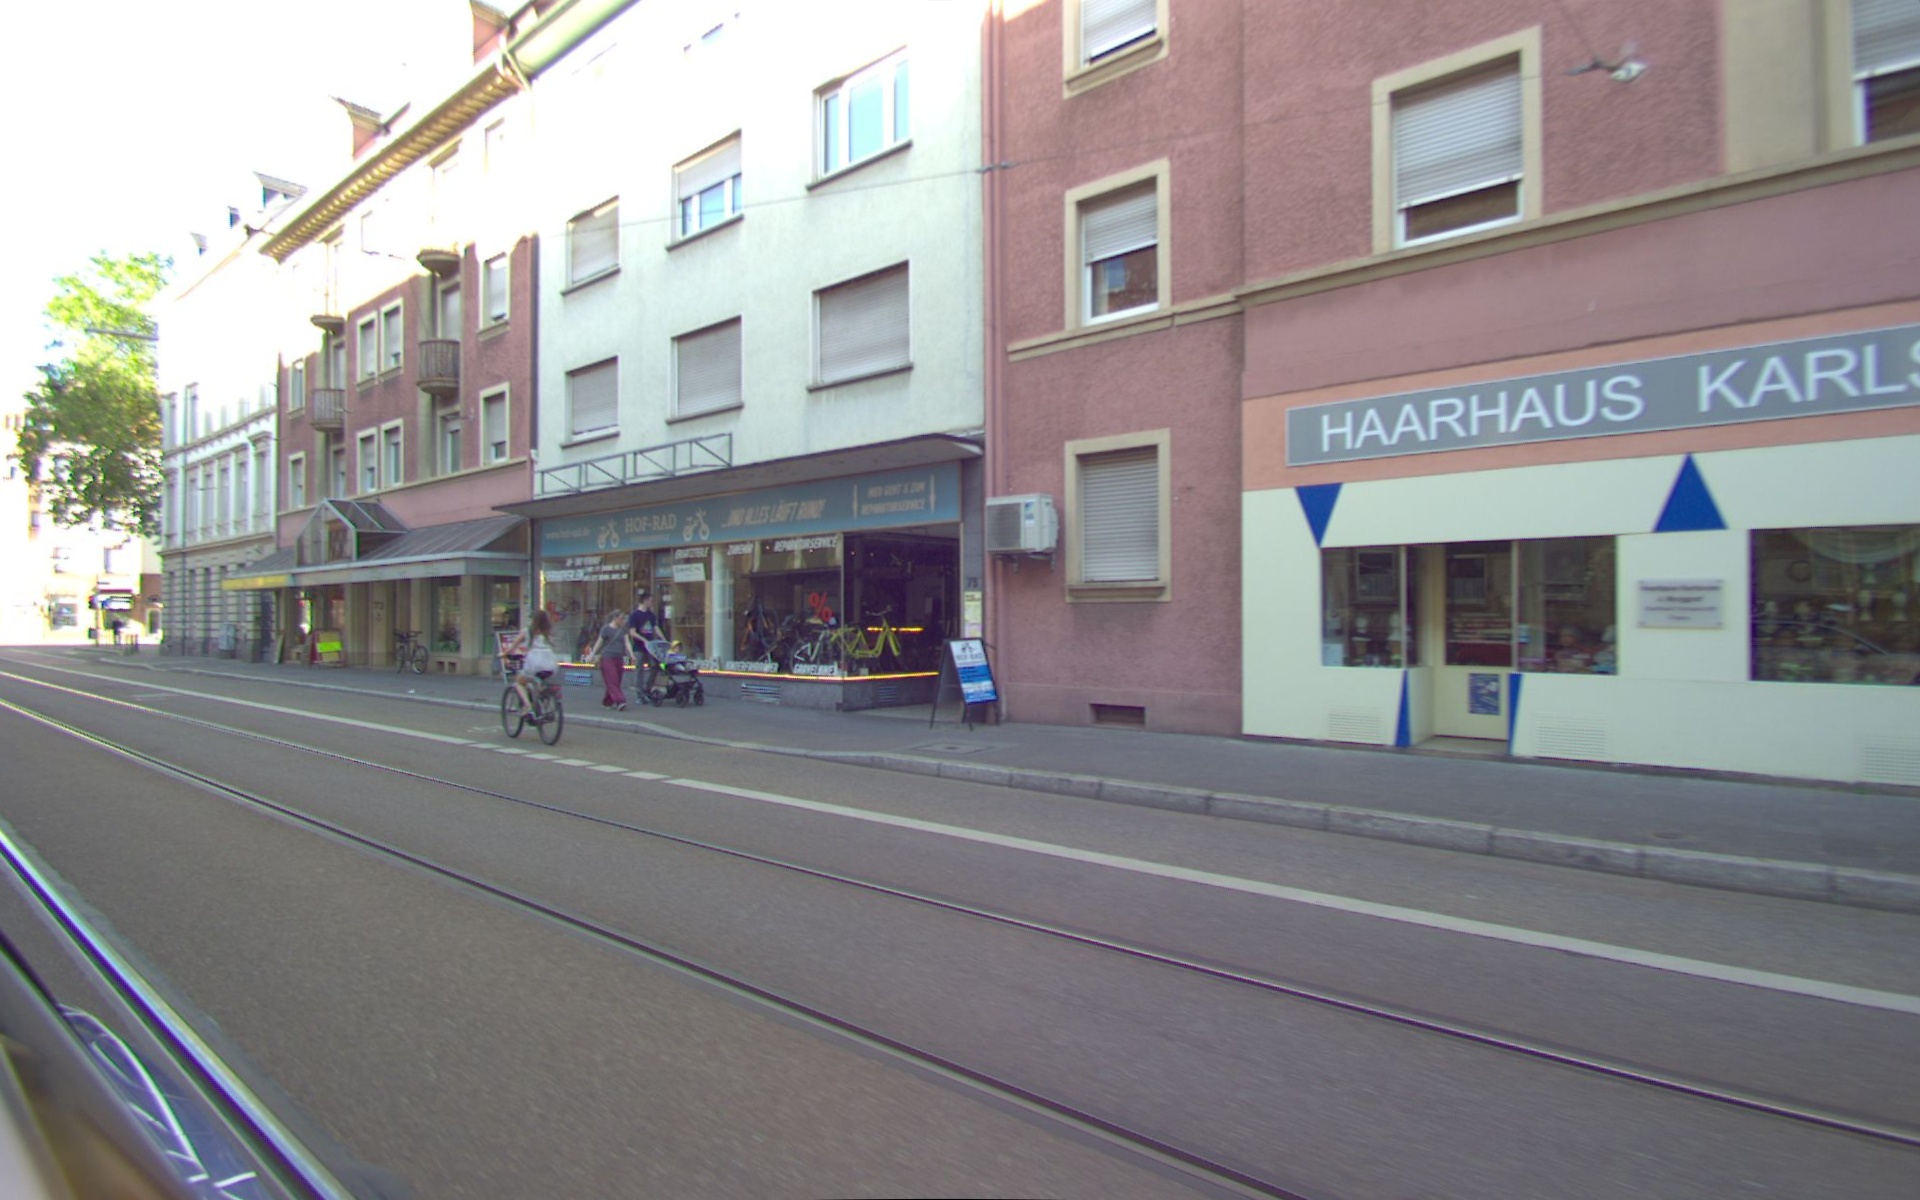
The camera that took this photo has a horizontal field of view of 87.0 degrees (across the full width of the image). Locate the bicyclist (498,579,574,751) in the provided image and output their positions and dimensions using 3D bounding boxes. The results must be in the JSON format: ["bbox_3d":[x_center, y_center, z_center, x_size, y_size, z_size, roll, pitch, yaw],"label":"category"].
[{"bbox_3d":[-5.202,0.767,12.417,0.733,2.029,0.605,-1,-1,41],"label":"bicyclist"}]

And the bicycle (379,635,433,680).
[{"bbox_3d":[-14.108,1.436,25.753,2.328,1.068,0.420,-1,-1,41],"label":"bicycle"}]

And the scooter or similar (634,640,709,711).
[{"bbox_3d":[-4.647,1.190,16.285,1.104,1.069,0.655,-2,-1,41],"label":"scooter or similar"}]

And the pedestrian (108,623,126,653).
[{"bbox_3d":[-53.221,2.386,63.891,0.809,1.861,0.784,-1,-1,44],"label":"pedestrian"}]

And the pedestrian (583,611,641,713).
[{"bbox_3d":[-5.476,0.952,15.944,0.623,1.560,0.629,-1,-1,40],"label":"pedestrian"}]

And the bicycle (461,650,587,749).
[{"bbox_3d":[-5.468,1.202,12.638,2.043,1.104,0.596,-1,-3,41],"label":"bicycle"}]

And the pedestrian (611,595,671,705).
[{"bbox_3d":[-5.351,0.819,16.982,0.820,1.803,0.619,-1,-1,40],"label":"pedestrian"}]
